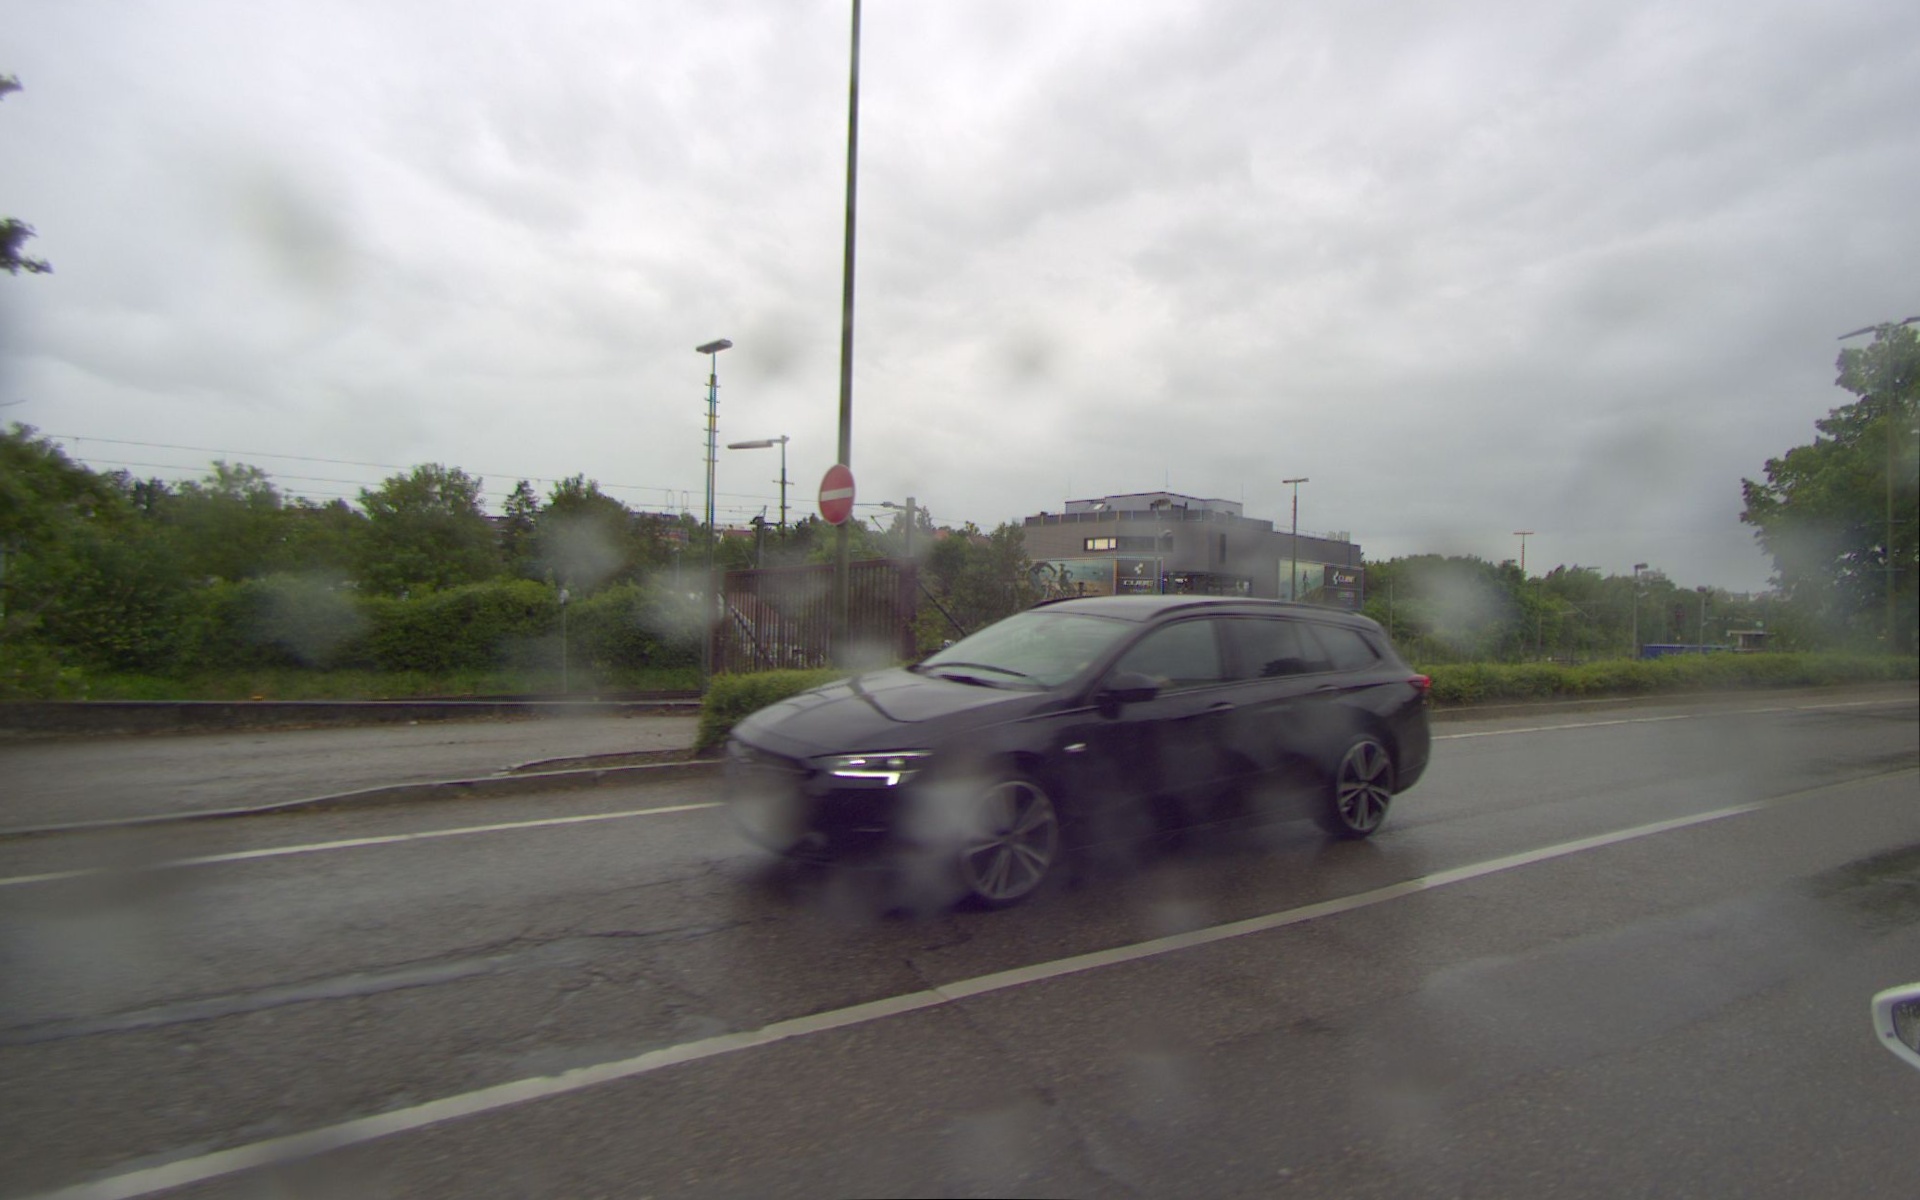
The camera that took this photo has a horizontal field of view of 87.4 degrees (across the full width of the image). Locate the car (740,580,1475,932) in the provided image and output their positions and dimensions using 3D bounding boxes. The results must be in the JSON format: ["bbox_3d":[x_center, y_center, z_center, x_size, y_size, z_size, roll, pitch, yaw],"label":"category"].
[{"bbox_3d":[1.097,0.688,6.233,4.495,1.482,1.713,1,1,-33],"label":"car"}]
